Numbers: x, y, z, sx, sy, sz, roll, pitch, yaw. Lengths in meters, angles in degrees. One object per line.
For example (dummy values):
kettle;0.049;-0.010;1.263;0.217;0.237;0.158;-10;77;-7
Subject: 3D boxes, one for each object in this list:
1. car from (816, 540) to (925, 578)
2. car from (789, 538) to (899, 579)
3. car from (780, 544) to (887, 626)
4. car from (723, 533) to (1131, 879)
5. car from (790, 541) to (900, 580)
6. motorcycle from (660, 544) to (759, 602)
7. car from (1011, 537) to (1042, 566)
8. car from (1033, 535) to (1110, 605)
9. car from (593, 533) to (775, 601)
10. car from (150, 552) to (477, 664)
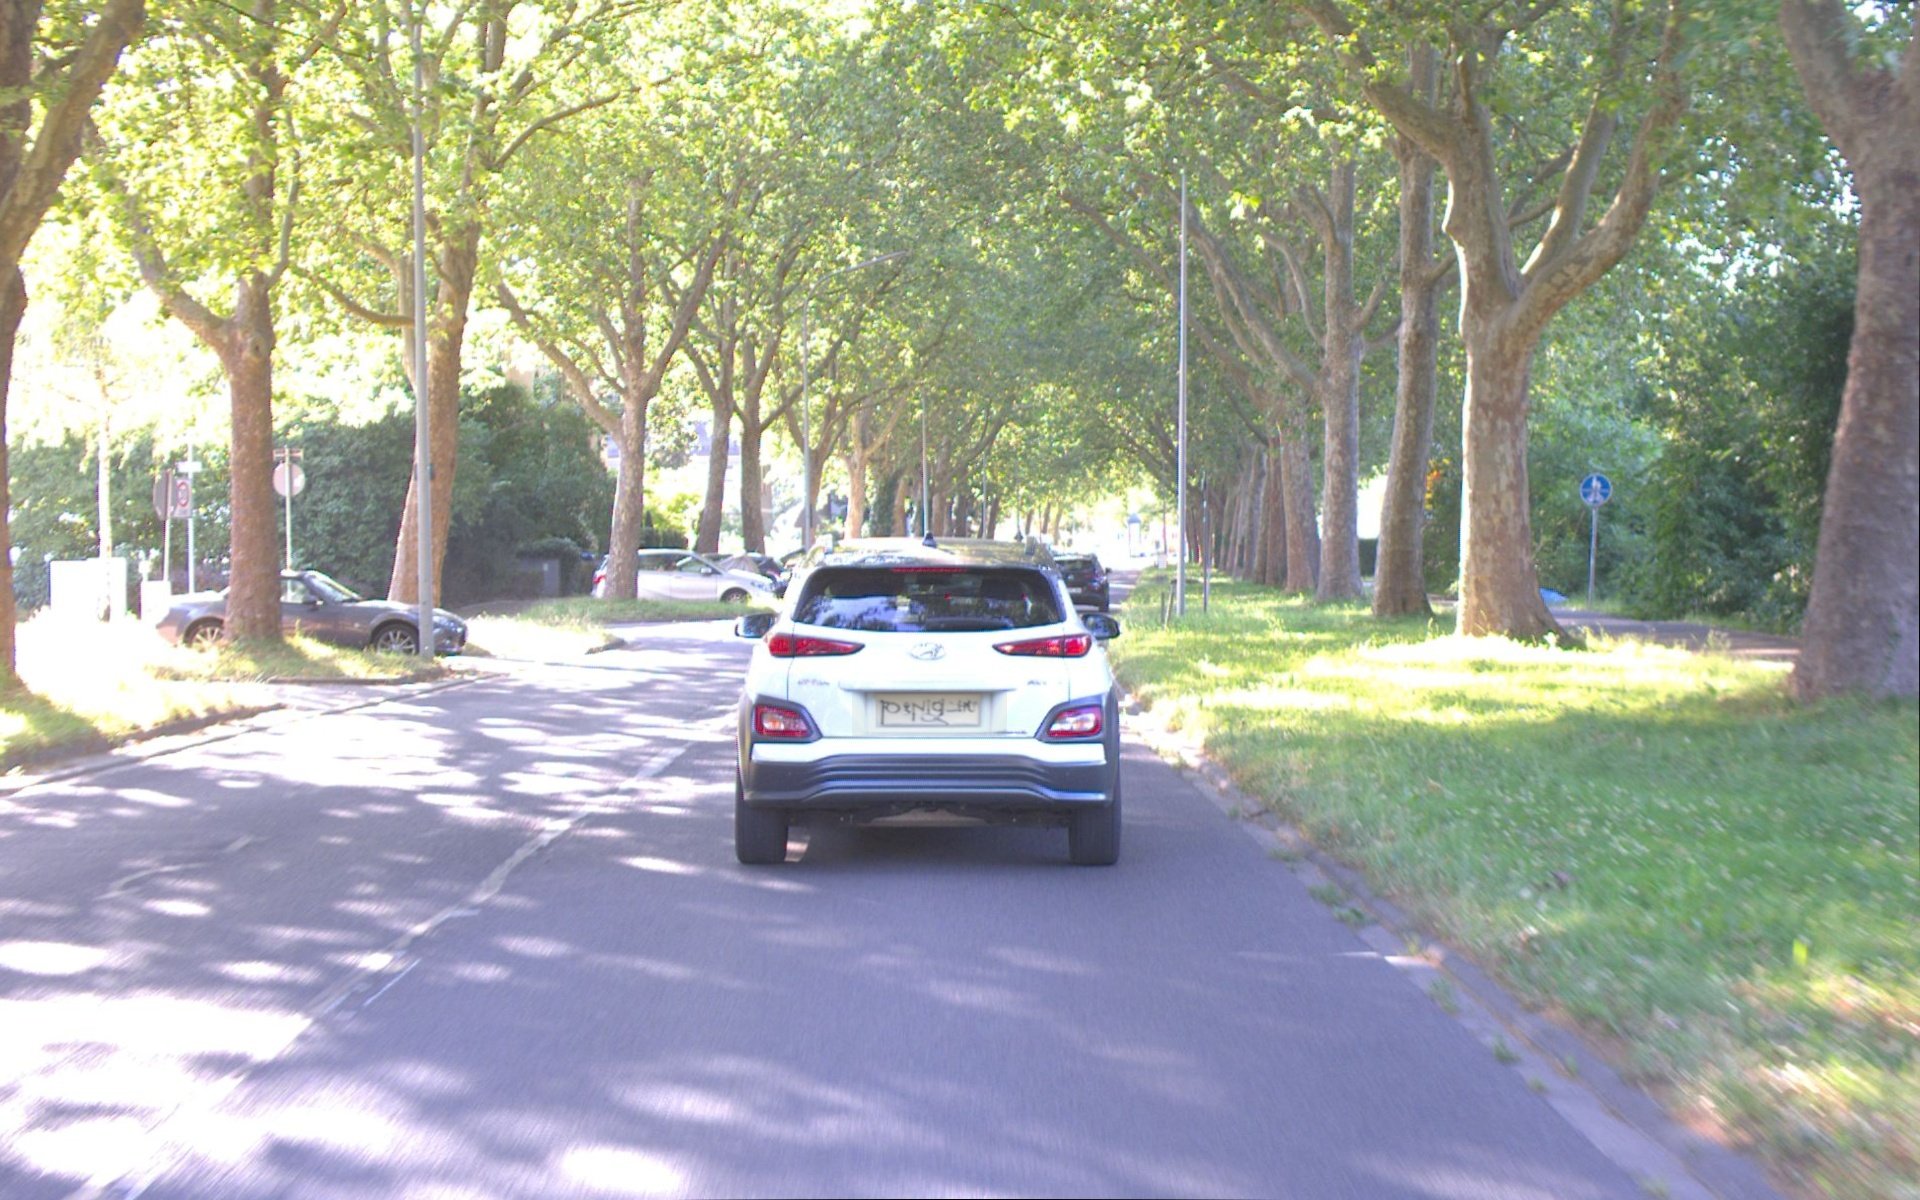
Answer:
car;-3.395;-1.576;131.302;3.987;1.465;1.809;0;1;5
car;-4.331;-1.555;128.934;3.987;1.515;1.809;0;1;2
car;-2.373;-0.313;65.494;1.784;1.507;3.838;0;1;2
car;-0.258;0.444;17.477;1.835;1.550;4.001;0;1;-3
car;-4.203;-1.455;125.742;3.987;1.419;1.809;0;1;-1
motorcycle;-6.098;-0.664;83.765;2.385;1.383;0.648;0;2;-2
car;3.402;-2.466;175.647;1.535;1.454;3.185;0;1;1
car;2.722;-0.762;84.840;1.676;1.690;3.745;0;1;-2
car;-6.507;-0.791;81.354;4.183;1.579;2.000;0;1;-1
car;-8.227;0.092;43.971;3.825;1.312;1.790;1;1;0
